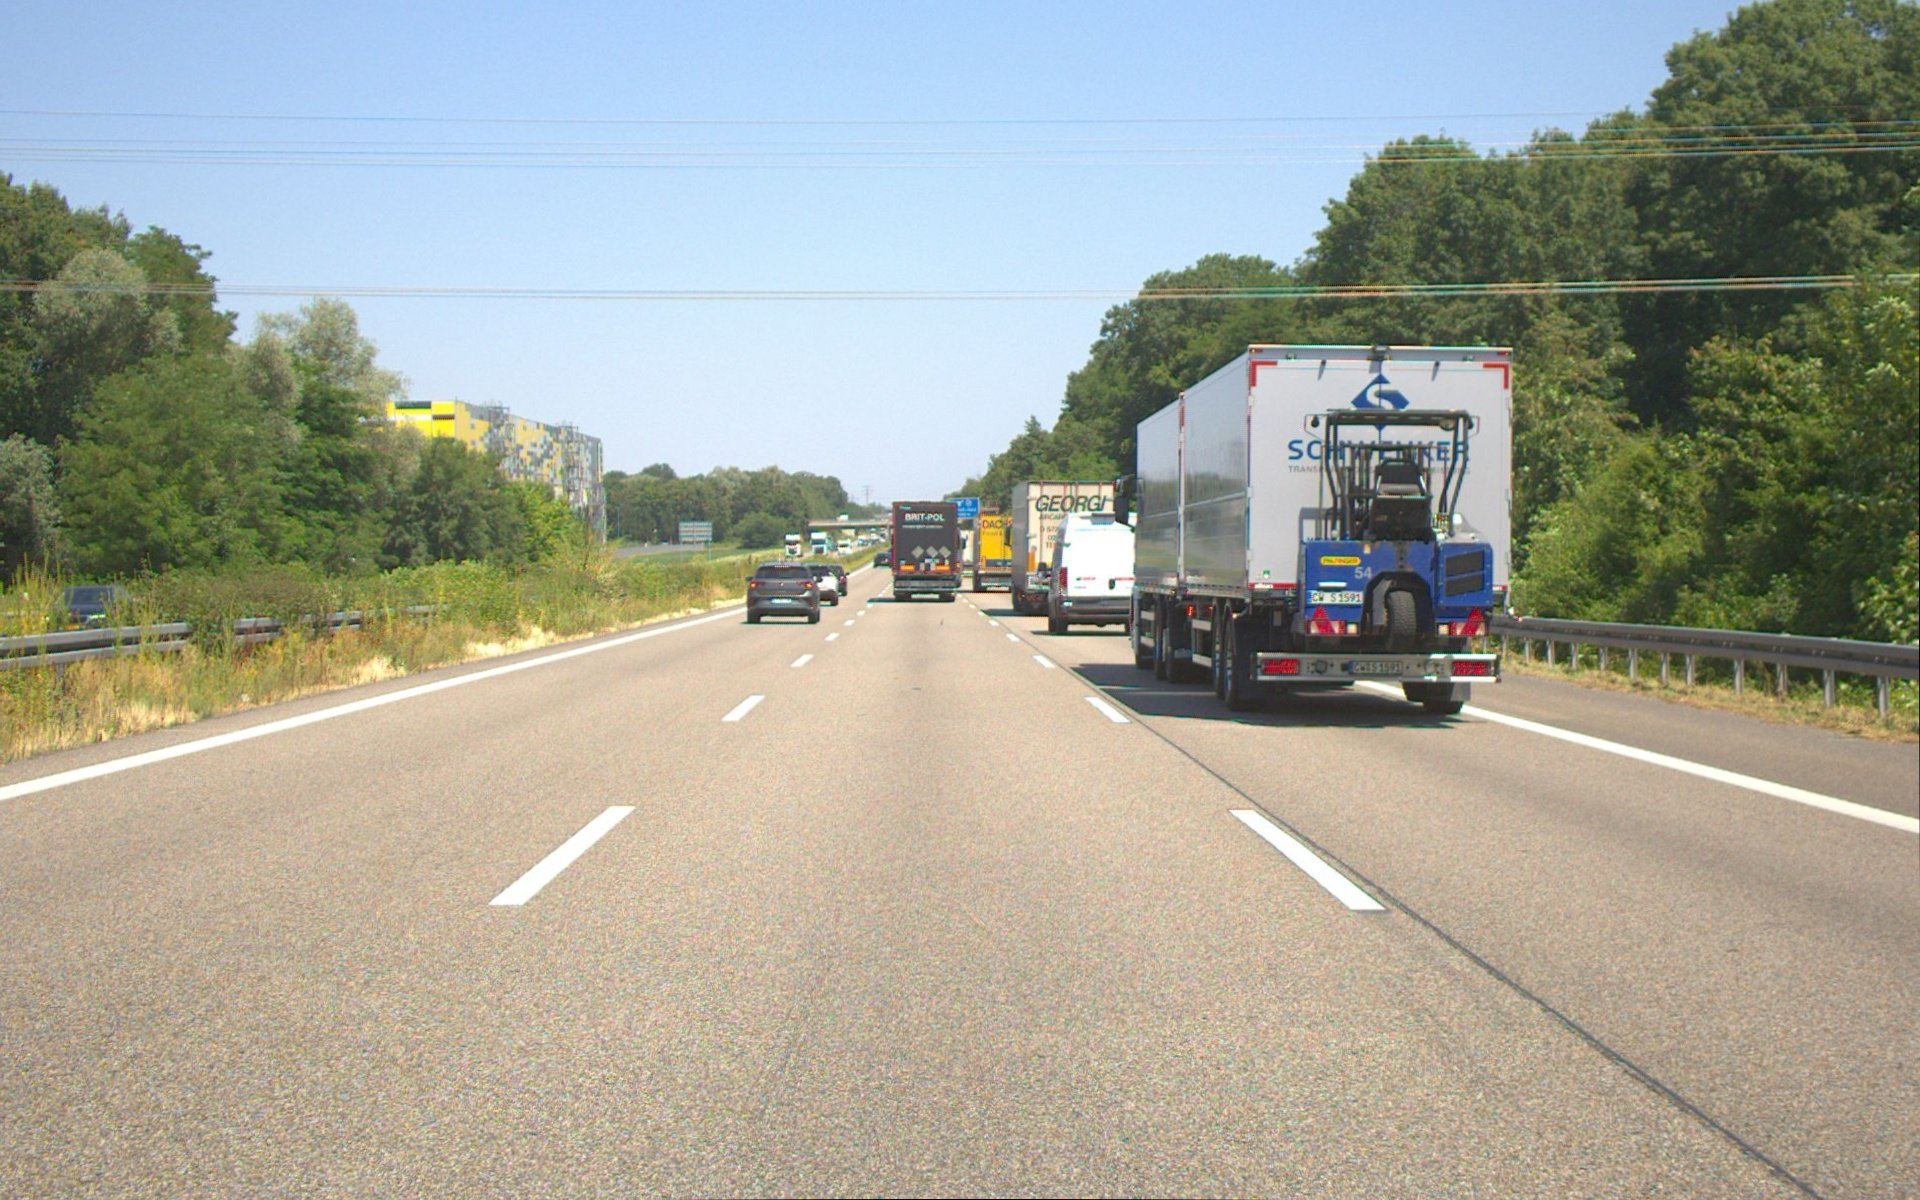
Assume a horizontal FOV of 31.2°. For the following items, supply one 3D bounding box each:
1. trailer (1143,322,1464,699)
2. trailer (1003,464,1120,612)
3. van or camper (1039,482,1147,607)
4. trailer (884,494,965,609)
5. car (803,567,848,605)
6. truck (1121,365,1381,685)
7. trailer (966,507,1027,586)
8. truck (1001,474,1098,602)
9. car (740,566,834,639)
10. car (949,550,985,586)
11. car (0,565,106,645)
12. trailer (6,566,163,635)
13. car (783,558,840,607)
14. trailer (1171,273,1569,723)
[{"bbox_3d":[3.905,-0.997,40.766,2.920,4.027,7.317,1,1,-1],"label":"trailer"},{"bbox_3d":[3.043,-1.906,106.681,2.993,4.274,13.419,1,1,-1],"label":"trailer"},{"bbox_3d":[2.900,-1.218,76.295,2.022,2.628,6.487,1,1,-1],"label":"van or camper"},{"bbox_3d":[-1.557,-1.981,142.153,3.106,4.491,14.897,1,1,-1],"label":"trailer"},{"bbox_3d":[-6.176,-0.660,158.176,1.941,1.700,4.000,0,1,-1],"label":"car"},{"bbox_3d":[3.858,-0.986,47.077,2.889,4.016,6.870,1,1,0],"label":"truck"},{"bbox_3d":[1.819,-2.804,177.468,2.834,3.940,11.685,0,1,-1],"label":"trailer"},{"bbox_3d":[2.919,-2.036,113.732,3.002,4.110,5.253,0,0,-1],"label":"truck"},{"bbox_3d":[-4.418,0.035,88.410,2.216,1.784,5.393,-1,1,-1],"label":"car"},{"bbox_3d":[0.392,-1.859,198.322,1.993,2.007,4.000,-1,1,-1],"label":"car"},{"bbox_3d":[-22.488,0.100,83.196,2.453,1.866,5.029,0,1,-1],"label":"car"},{"bbox_3d":[-22.572,-0.013,88.907,2.488,1.678,6.491,0,1,-1],"label":"trailer"},{"bbox_3d":[-5.354,-0.654,124.341,1.993,1.722,4.131,0,1,-1],"label":"car"},{"bbox_3d":[3.975,-0.968,35.297,2.945,4.049,8.128,1,1,-1],"label":"trailer"}]
